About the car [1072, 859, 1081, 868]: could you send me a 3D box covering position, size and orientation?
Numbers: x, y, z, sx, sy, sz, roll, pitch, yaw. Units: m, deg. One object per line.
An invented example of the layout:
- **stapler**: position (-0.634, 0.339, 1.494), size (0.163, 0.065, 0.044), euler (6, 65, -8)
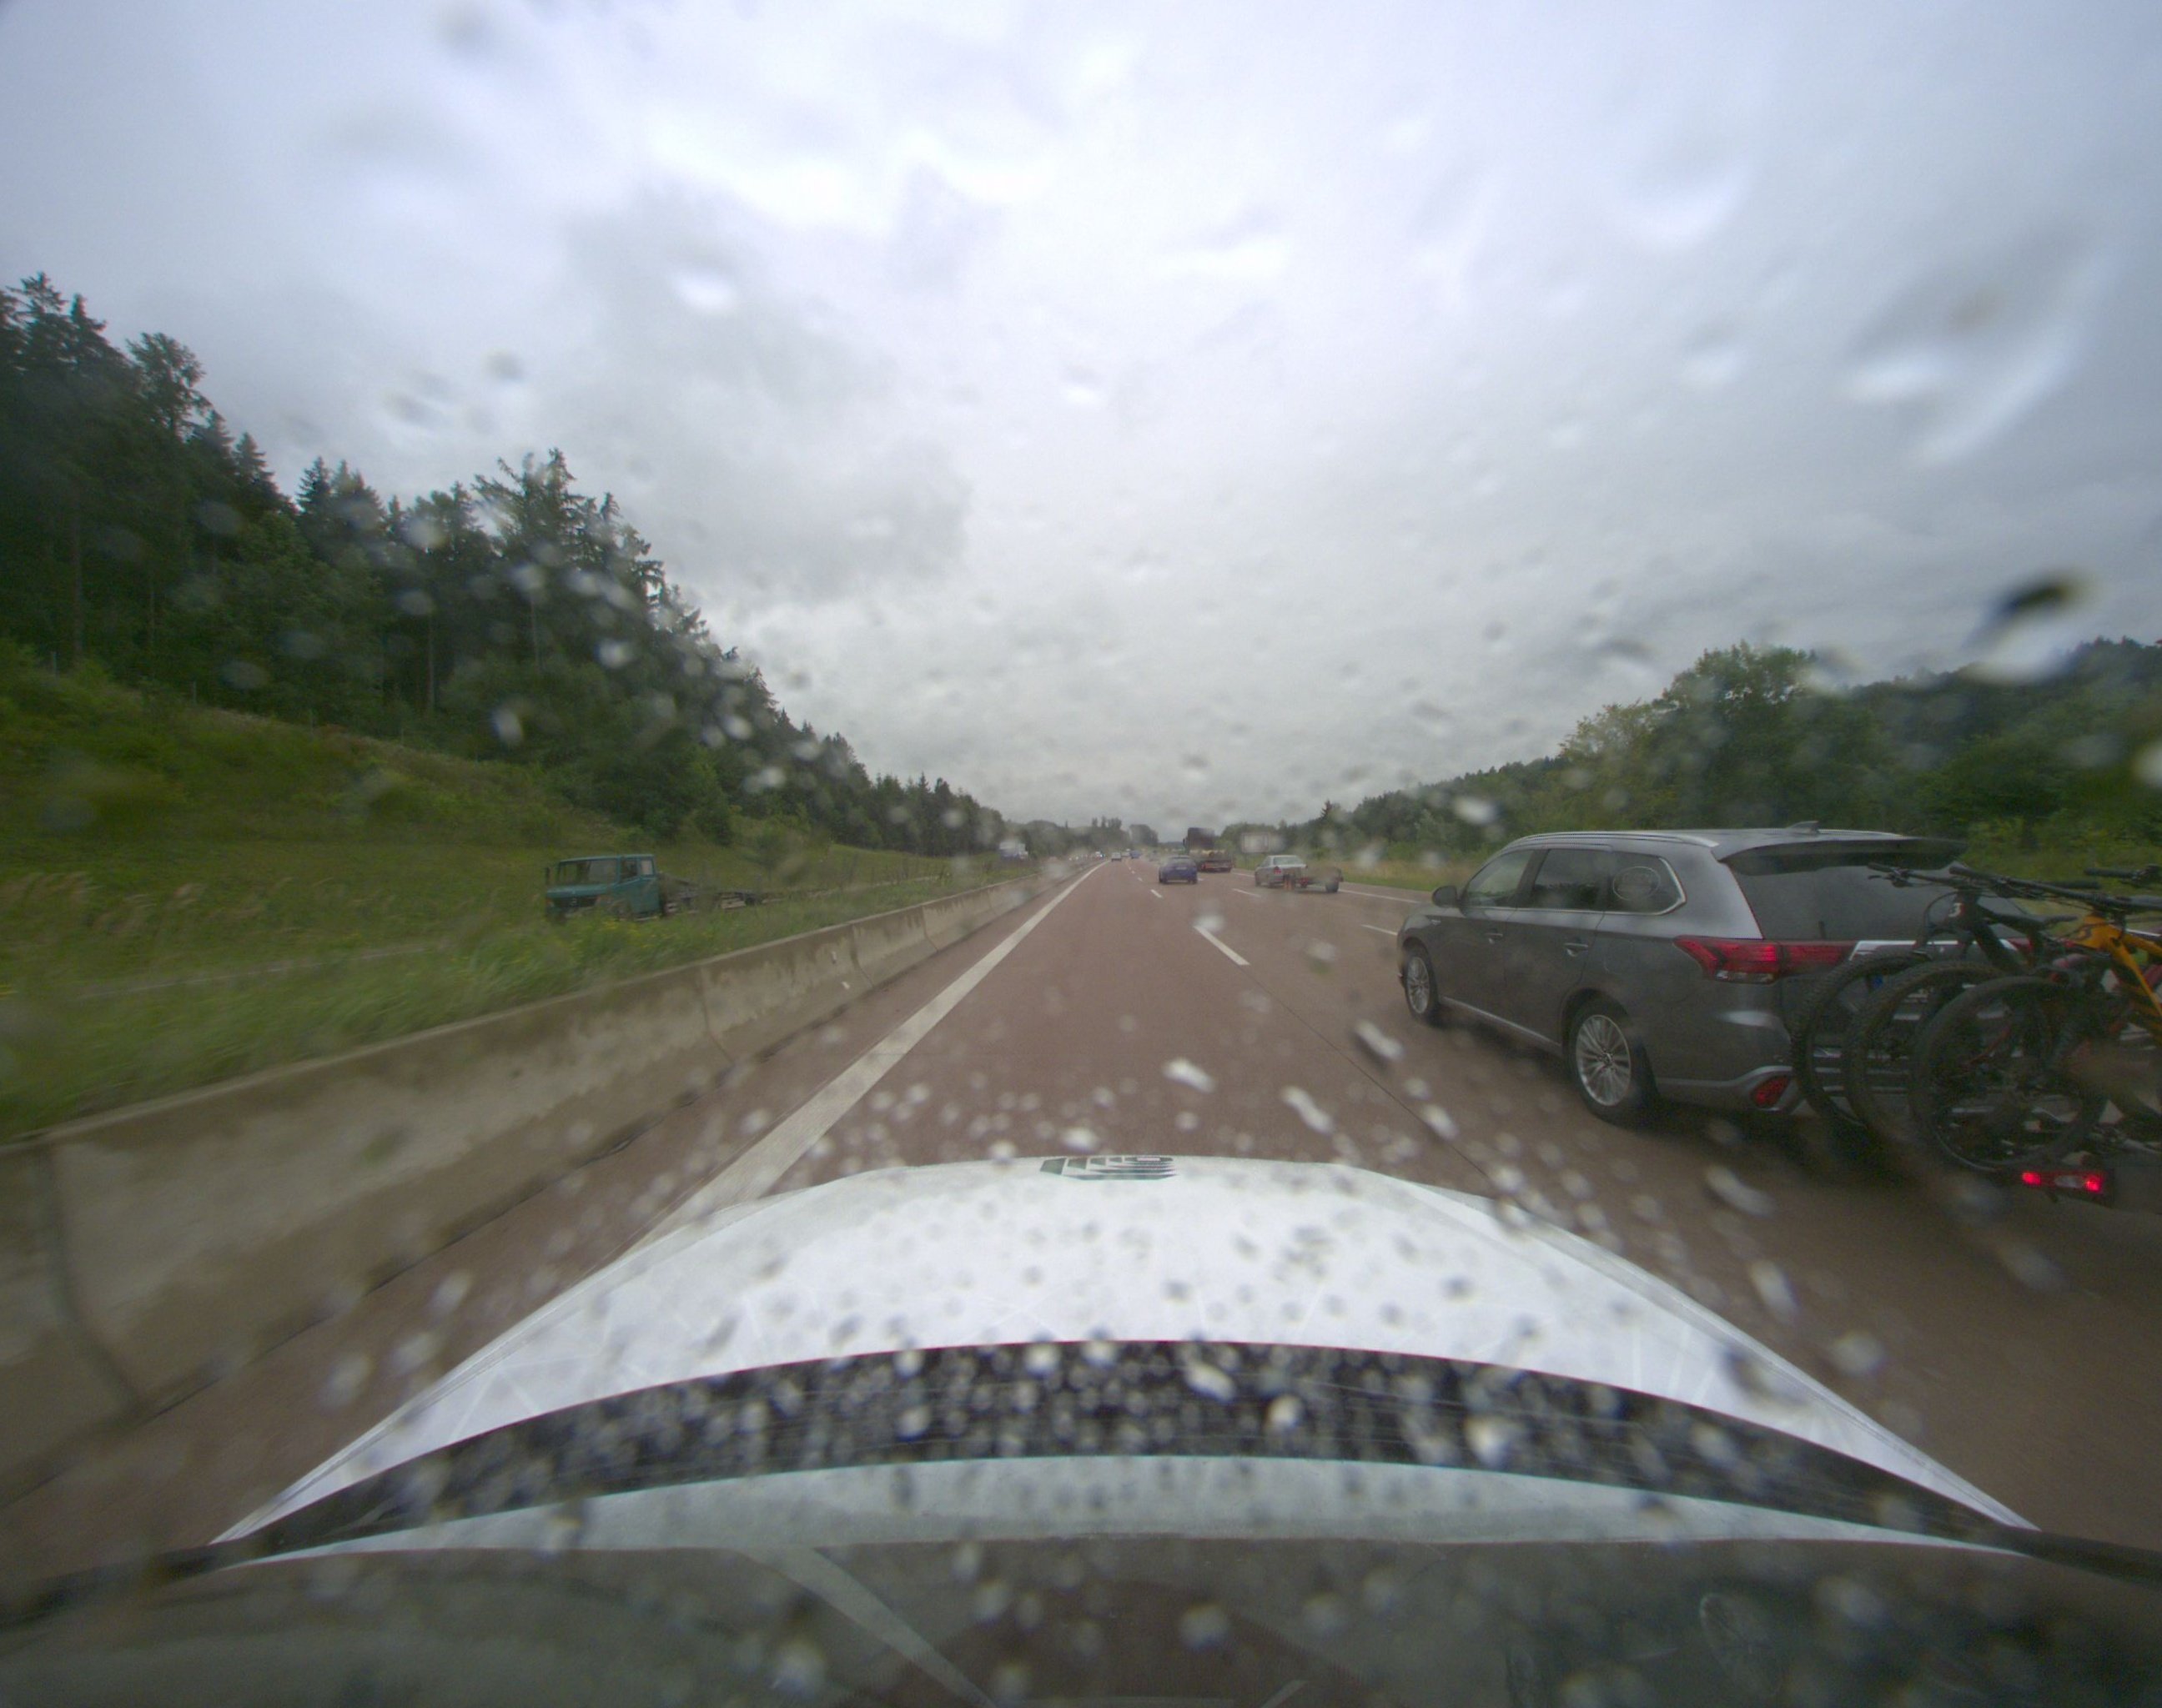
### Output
- **car**: position (-0.910, 1.993, 171.880), size (1.812, 1.842, 6.240), euler (0, -1, 2)

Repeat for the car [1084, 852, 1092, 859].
- **car**: position (2.168, 0.452, 251.330), size (2.094, 2.279, 5.398), euler (0, -1, 2)

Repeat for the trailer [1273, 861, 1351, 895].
- **trailer**: position (8.975, 0.883, 32.021), size (1.963, 1.166, 4.643), euler (0, 0, 3)

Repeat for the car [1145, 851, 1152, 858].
- **car**: position (19.422, 0.156, 235.413), size (1.985, 2.014, 4.003), euler (0, -1, 3)

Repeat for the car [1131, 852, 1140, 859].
- **car**: position (14.012, 0.446, 209.073), size (2.312, 1.750, 4.881), euler (0, -1, 3)

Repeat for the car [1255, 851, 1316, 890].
- **car**: position (9.115, 0.717, 36.733), size (1.691, 1.611, 4.979), euler (-1, -1, 3)

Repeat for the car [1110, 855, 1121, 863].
- **car**: position (6.460, 0.920, 152.426), size (1.867, 1.444, 4.877), euler (0, -1, 1)

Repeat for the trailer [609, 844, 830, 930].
- **trailer**: position (-14.818, 1.277, 35.635), size (2.828, 2.998, 14.440), euler (0, -1, 2)

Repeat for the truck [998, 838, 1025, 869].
- **truck**: position (-10.525, -0.107, 124.205), size (2.953, 4.319, 7.653), euler (-5, 1, 2)

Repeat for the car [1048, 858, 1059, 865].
- **car**: position (-5.145, 1.434, 152.581), size (1.812, 1.369, 5.116), euler (0, -1, 2)

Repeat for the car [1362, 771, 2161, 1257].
- **car**: position (3.869, 0.573, 5.588), size (1.986, 1.593, 5.821), euler (0, -1, 1)

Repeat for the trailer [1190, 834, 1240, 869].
- **trailer**: position (10.985, -0.098, 67.856), size (2.869, 2.676, 11.407), euler (0, -1, 3)

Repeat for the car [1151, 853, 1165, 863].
- **car**: position (14.111, 0.821, 149.345), size (2.312, 1.750, 4.881), euler (0, -1, 3)

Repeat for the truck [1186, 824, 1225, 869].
- **truck**: position (11.384, -0.598, 75.013), size (2.885, 3.965, 6.993), euler (0, -1, 3)

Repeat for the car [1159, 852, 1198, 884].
- **car**: position (5.026, 0.736, 42.492), size (1.764, 1.564, 4.150), euler (0, -1, 3)

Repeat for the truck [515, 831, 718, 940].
- **truck**: position (-15.081, 0.989, 27.132), size (2.853, 3.172, 6.497), euler (0, -1, 2)
